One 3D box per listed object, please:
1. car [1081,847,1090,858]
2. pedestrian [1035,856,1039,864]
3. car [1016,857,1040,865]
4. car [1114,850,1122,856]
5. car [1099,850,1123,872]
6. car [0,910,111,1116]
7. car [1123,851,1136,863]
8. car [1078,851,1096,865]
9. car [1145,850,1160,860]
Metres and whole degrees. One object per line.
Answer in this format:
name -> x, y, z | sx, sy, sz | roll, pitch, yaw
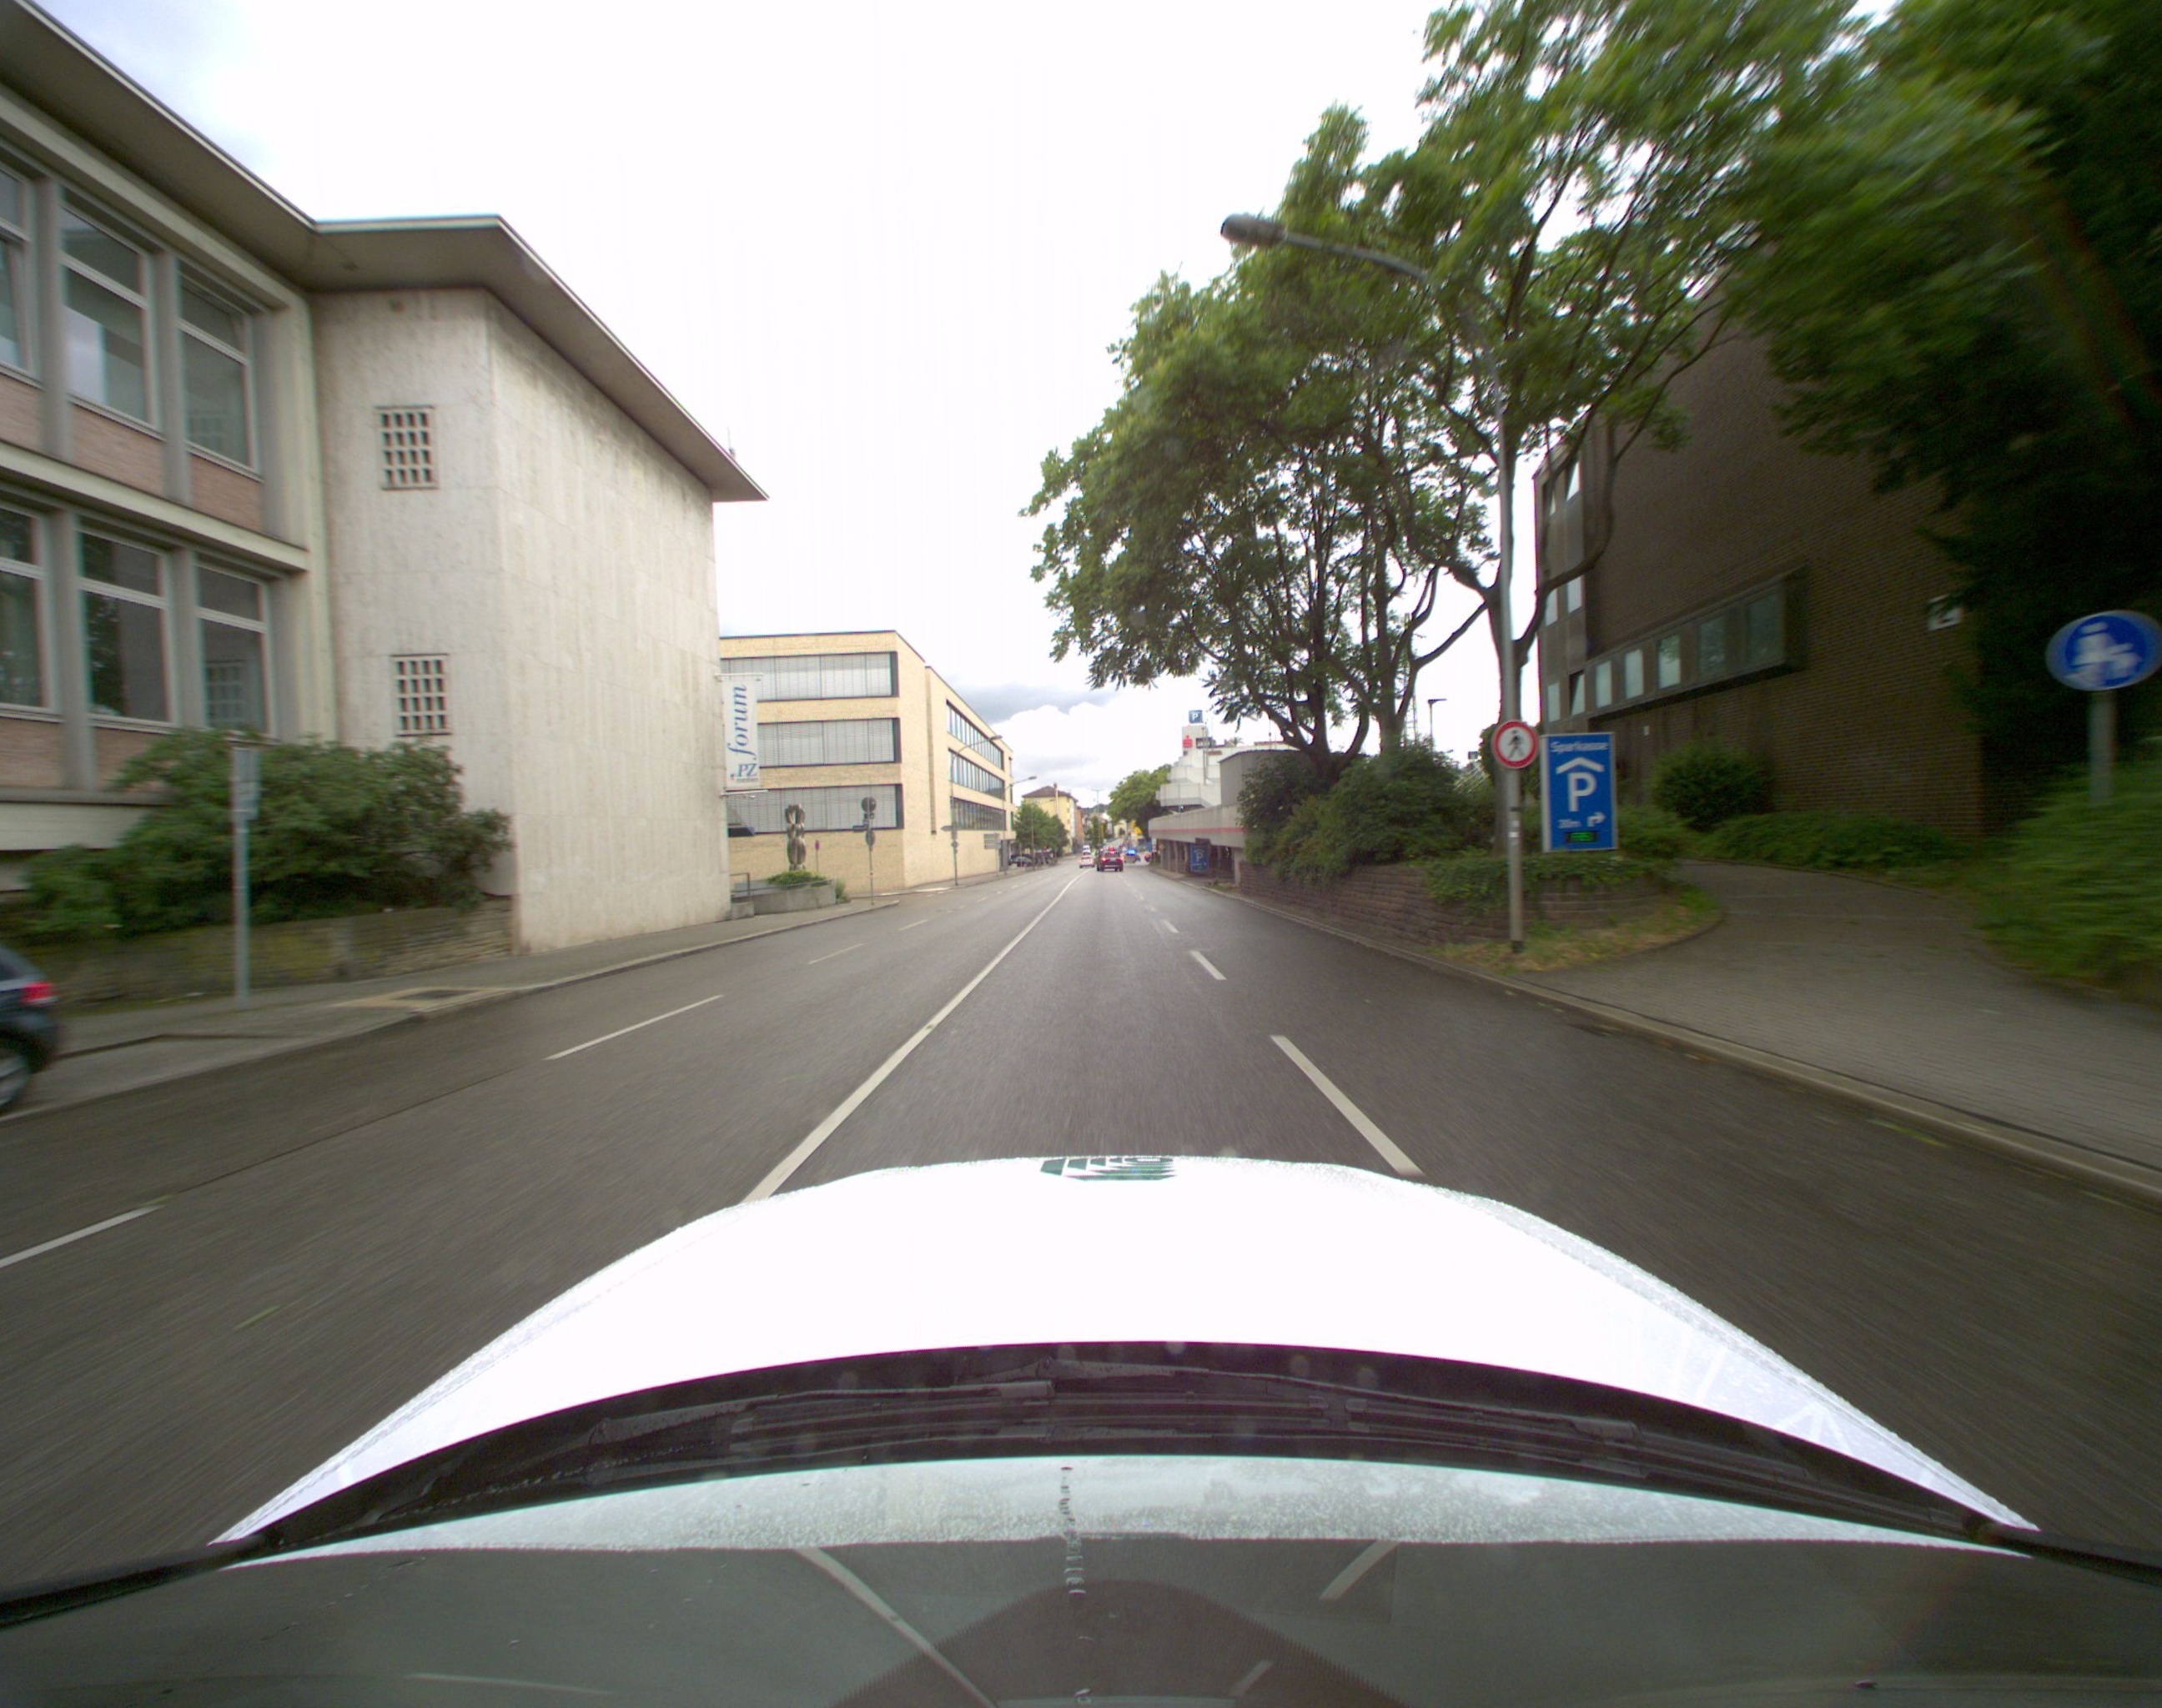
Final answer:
car -> 1.206, -0.366, 231.672 | 2.178, 3.098, 4.926 | -2, 0, -2
pedestrian -> -6.945, 0.980, 128.547 | 0.450, 1.278, 0.456 | -2, 0, 12
car -> -8.450, 1.127, 129.645 | 3.648, 1.235, 1.439 | -2, 0, -5
car -> 10.170, -0.333, 225.924 | 1.988, 1.679, 3.998 | -2, 1, -1
car -> 2.792, 0.618, 74.519 | 2.083, 1.910, 4.102 | -1, 0, 2
car -> -8.903, 1.214, 4.631 | 1.742, 1.480, 4.181 | 0, 0, 0
car -> 8.414, 0.465, 142.696 | 2.164, 2.004, 4.003 | -2, 0, 3
car -> 0.749, 0.470, 101.233 | 1.989, 1.680, 3.995 | -2, 0, -3
car -> 13.324, 0.213, 151.415 | 1.979, 1.680, 4.016 | -2, 0, 15
